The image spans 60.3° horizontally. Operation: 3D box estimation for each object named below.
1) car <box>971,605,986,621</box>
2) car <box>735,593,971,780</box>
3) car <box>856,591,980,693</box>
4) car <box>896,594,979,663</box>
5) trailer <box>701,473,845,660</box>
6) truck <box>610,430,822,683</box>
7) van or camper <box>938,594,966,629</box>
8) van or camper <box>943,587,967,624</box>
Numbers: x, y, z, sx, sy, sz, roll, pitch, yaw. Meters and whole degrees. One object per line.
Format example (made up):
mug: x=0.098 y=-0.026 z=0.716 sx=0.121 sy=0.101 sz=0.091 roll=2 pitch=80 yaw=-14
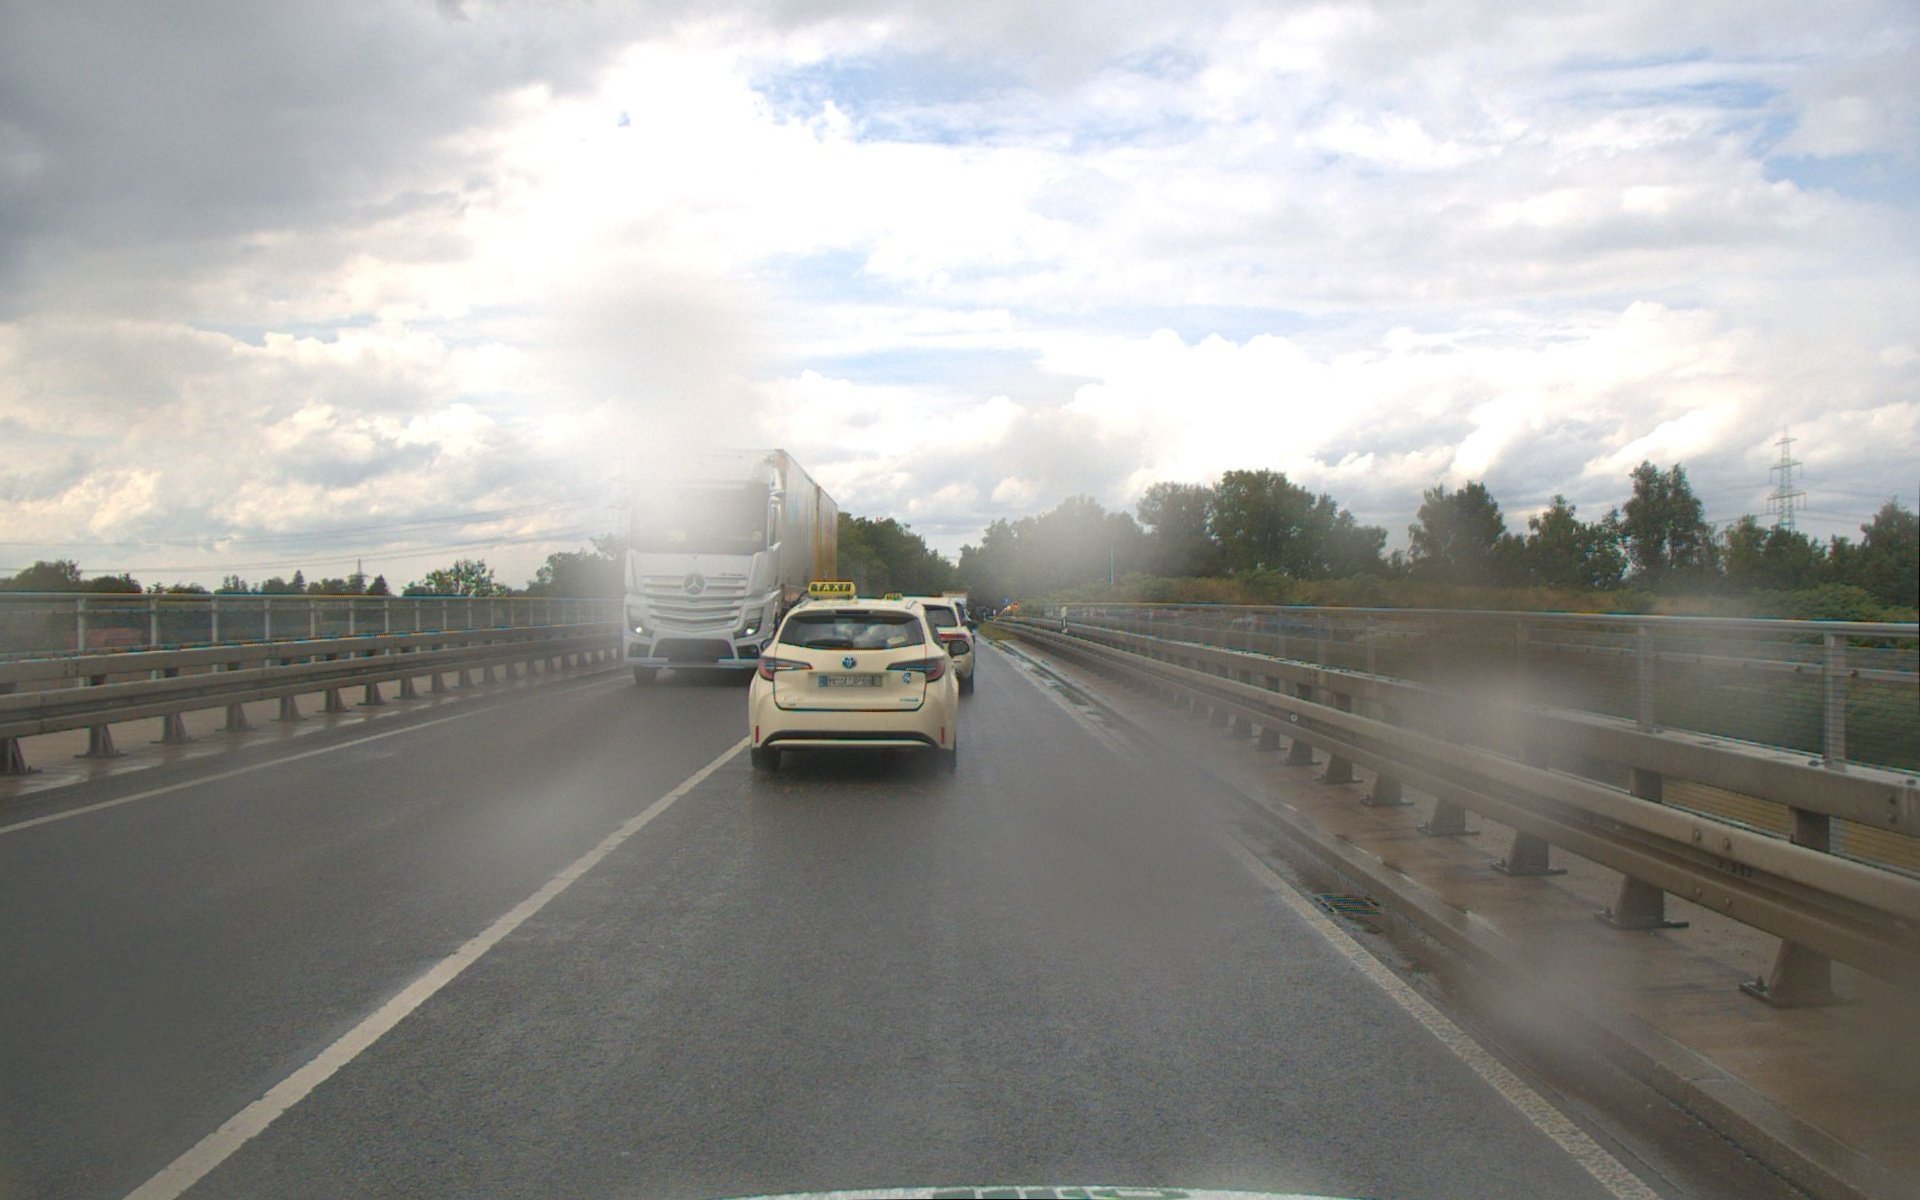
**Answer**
car: x=2.487 y=1.783 z=223.896 sx=1.953 sy=2.049 sz=3.999 roll=1 pitch=0 yaw=-1
car: x=-0.861 y=0.668 z=14.977 sx=1.817 sy=1.418 sz=4.170 roll=1 pitch=0 yaw=-1
car: x=-0.647 y=0.617 z=26.642 sx=1.817 sy=1.468 sz=4.170 roll=1 pitch=0 yaw=-1
car: x=-0.520 y=0.628 z=38.789 sx=1.817 sy=1.468 sz=4.170 roll=1 pitch=0 yaw=-1
trailer: x=-4.461 y=-0.769 z=41.103 sx=2.628 sy=4.146 sz=8.484 roll=1 pitch=0 yaw=0
truck: x=-4.369 y=-0.731 z=31.851 sx=2.628 sy=4.087 sz=10.053 roll=1 pitch=0 yaw=0
van or camper: x=-0.720 y=0.937 z=142.887 sx=2.285 sy=2.914 sz=6.305 roll=1 pitch=0 yaw=-1
van or camper: x=-0.534 y=0.558 z=166.456 sx=2.285 sy=3.625 sz=6.305 roll=1 pitch=0 yaw=-1
